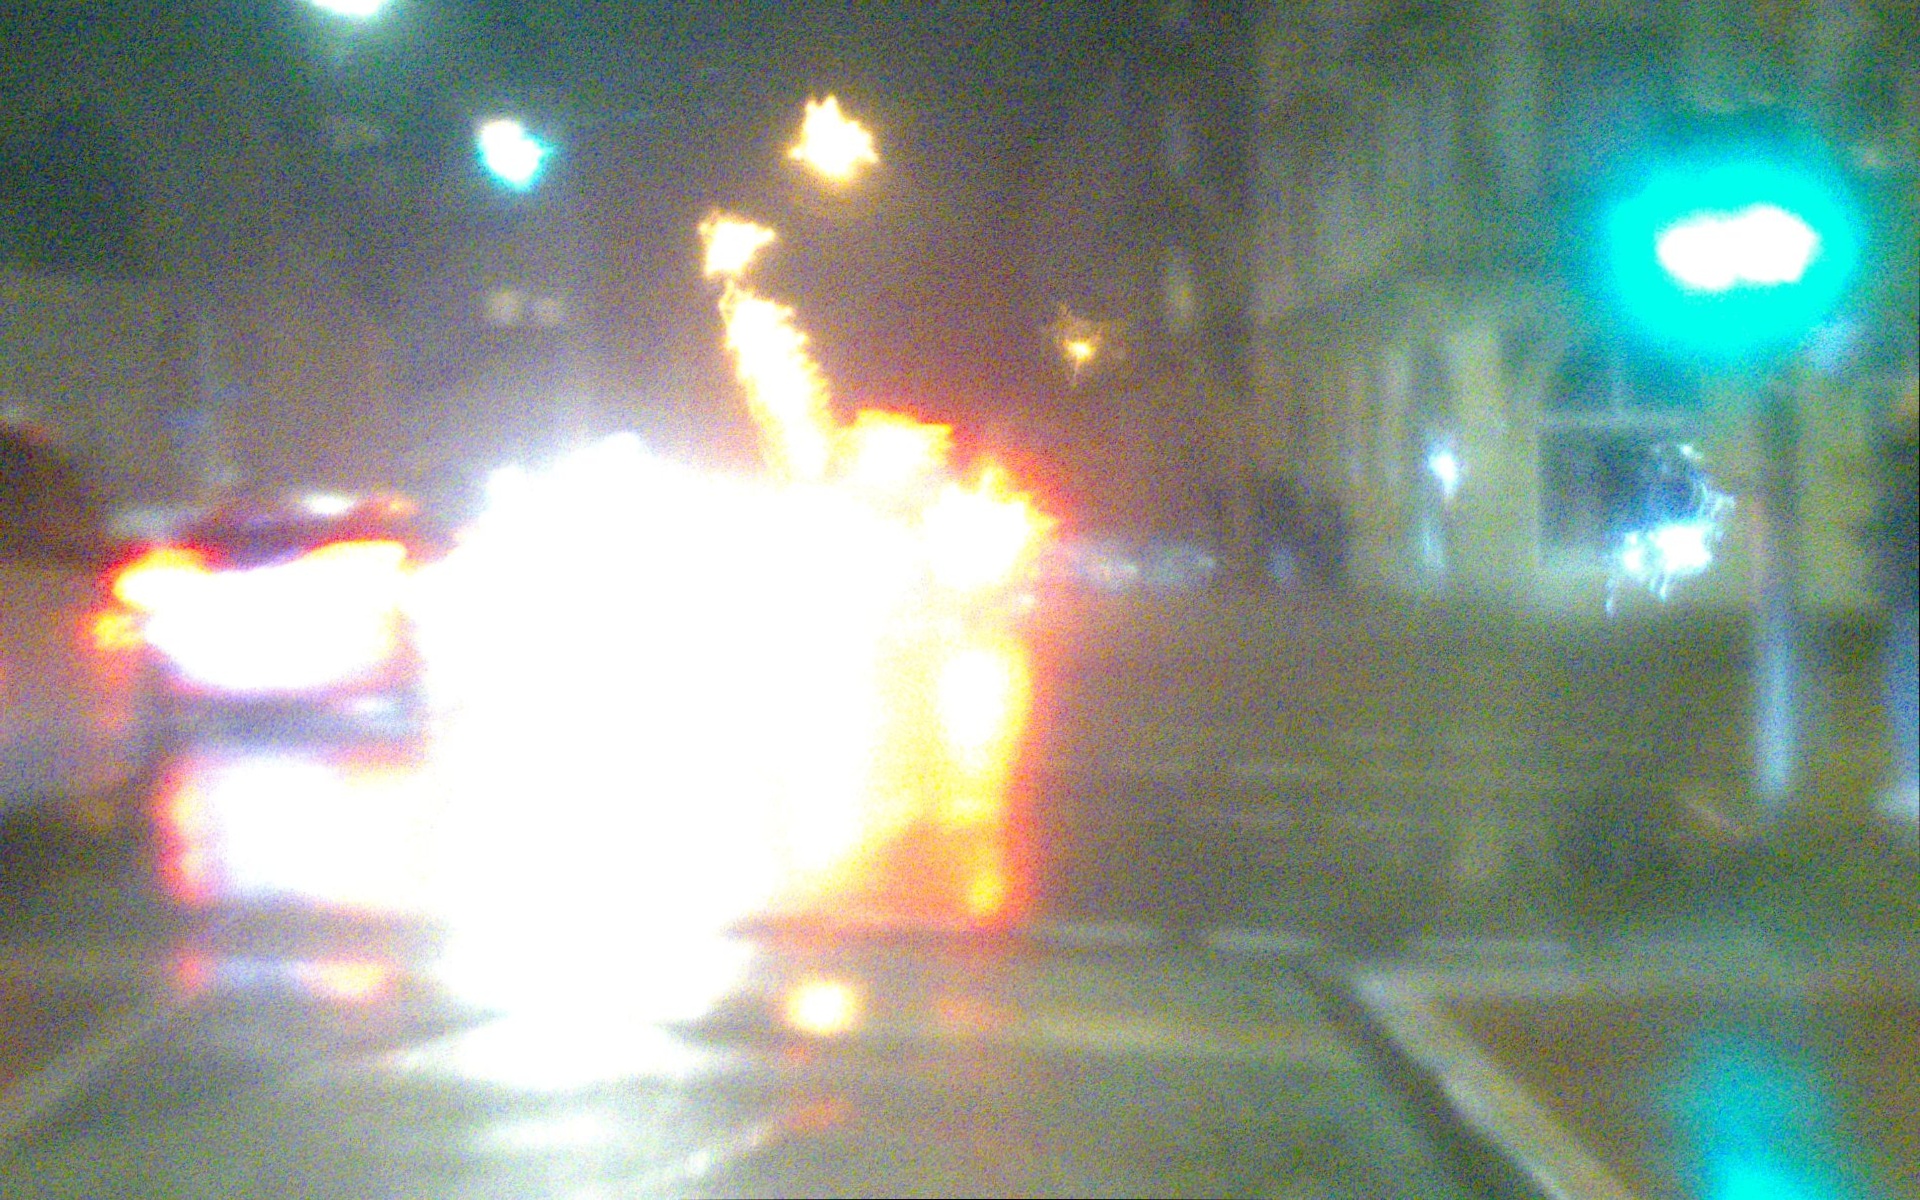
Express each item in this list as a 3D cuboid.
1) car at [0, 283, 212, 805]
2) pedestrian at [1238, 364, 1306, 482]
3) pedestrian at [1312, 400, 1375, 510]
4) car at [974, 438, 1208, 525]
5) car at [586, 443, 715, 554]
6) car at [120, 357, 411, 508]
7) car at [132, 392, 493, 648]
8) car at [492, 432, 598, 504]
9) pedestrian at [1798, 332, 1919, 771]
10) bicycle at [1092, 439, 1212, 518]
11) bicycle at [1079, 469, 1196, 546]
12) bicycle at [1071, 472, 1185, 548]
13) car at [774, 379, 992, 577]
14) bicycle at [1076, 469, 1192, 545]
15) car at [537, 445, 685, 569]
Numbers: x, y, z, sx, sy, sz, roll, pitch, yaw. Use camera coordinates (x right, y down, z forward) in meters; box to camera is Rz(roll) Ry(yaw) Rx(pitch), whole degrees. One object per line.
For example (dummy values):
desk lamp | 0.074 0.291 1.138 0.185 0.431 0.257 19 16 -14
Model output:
car | -4.655 -0.252 14.142 2.034 1.946 5.201 -3 4 -1
pedestrian | 5.051 -2.861 55.649 0.957 1.875 1.000 -1 3 -2
pedestrian | 5.724 -2.173 51.378 0.781 1.612 1.000 -1 3 -2
car | 2.474 -2.235 64.476 4.174 1.452 1.857 -5 4 -40
car | -4.529 -1.526 50.744 1.668 1.556 4.008 -1 2 -2
car | -8.664 -2.114 43.298 1.893 1.774 4.331 0 3 14
car | -4.239 -0.587 23.189 1.817 1.537 4.727 -1 2 -4
car | -11.583 -3.685 95.741 1.990 1.965 4.303 -1 3 -20
pedestrian | 4.208 -0.225 14.674 1.107 1.819 0.851 -1 3 5
bicycle | 3.260 -2.069 58.523 1.896 1.247 0.711 -3 2 -7
bicycle | 3.068 -1.607 59.515 1.896 1.247 0.596 -3 2 -7
bicycle | 2.973 -1.595 60.816 1.896 1.247 0.596 -3 2 -7
car | -0.862 -1.327 36.827 2.168 1.965 4.303 -1 3 -2
bicycle | 3.046 -1.633 60.185 1.896 1.247 0.596 -3 2 -7
car | -4.538 -1.249 45.130 1.706 1.537 3.990 -1 2 -3
